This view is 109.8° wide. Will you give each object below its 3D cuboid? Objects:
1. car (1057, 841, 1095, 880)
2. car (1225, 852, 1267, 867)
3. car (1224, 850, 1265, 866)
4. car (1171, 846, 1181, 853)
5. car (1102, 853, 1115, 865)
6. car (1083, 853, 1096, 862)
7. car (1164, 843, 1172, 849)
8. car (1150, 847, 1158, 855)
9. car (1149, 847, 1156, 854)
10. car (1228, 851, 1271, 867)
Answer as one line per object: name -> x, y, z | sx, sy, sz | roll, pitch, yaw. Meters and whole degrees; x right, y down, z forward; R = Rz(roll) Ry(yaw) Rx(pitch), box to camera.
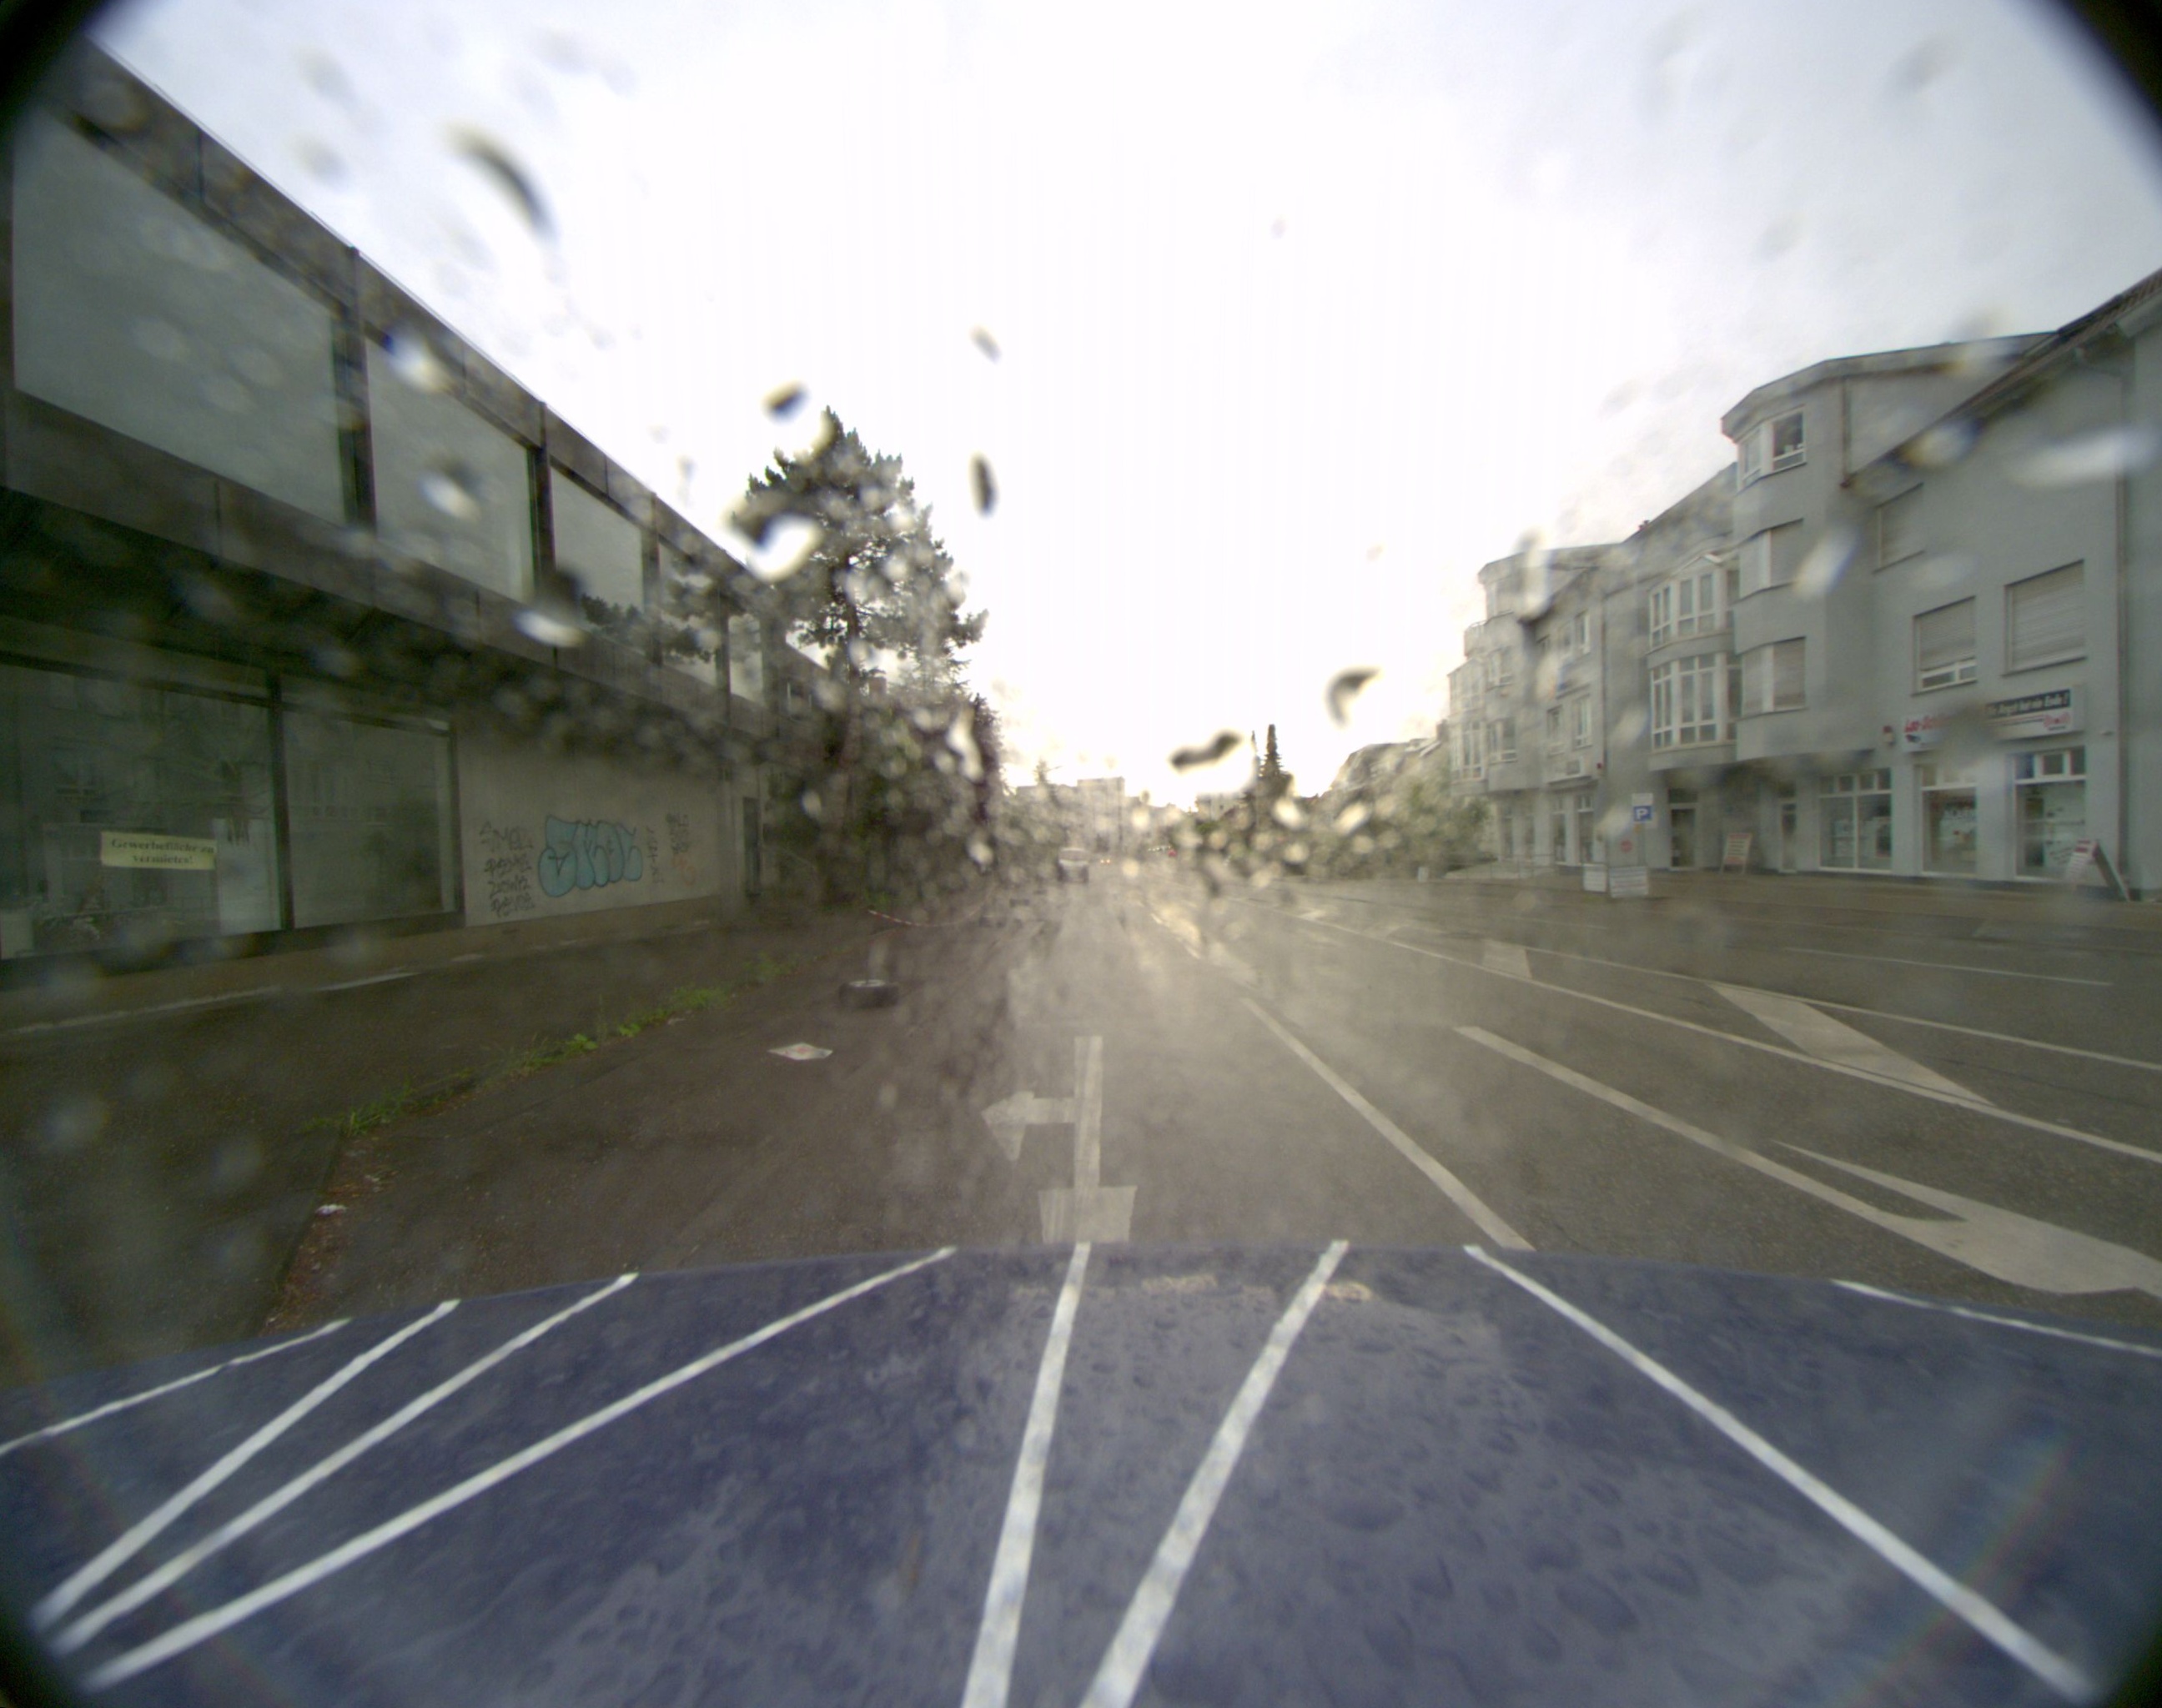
car -> -0.255, 0.418, 51.638 | 2.397, 2.417, 6.433 | -1, 0, 1
car -> 17.404, 0.556, 80.190 | 4.155, 1.434, 1.891 | -3, 0, 8
car -> 17.817, 0.480, 82.901 | 4.114, 1.536, 2.001 | -3, 0, 6
car -> 22.531, -1.036, 180.857 | 1.997, 1.606, 4.003 | -1, 0, 11
car -> 4.523, 0.767, 124.340 | 1.835, 1.783, 3.838 | -3, 0, 3
car -> 1.486, 0.604, 133.944 | 1.912, 1.622, 3.703 | -1, 0, 5
car -> 24.510, -2.173, 214.520 | 1.850, 1.753, 4.124 | -1, 0, 11
car -> 17.711, -0.692, 184.146 | 1.851, 1.870, 4.122 | -1, 0, 5
car -> 18.006, -0.808, 191.216 | 1.851, 1.753, 4.123 | -1, 0, 6
car -> 17.167, 0.546, 77.707 | 4.034, 1.434, 1.813 | -3, 0, 6
